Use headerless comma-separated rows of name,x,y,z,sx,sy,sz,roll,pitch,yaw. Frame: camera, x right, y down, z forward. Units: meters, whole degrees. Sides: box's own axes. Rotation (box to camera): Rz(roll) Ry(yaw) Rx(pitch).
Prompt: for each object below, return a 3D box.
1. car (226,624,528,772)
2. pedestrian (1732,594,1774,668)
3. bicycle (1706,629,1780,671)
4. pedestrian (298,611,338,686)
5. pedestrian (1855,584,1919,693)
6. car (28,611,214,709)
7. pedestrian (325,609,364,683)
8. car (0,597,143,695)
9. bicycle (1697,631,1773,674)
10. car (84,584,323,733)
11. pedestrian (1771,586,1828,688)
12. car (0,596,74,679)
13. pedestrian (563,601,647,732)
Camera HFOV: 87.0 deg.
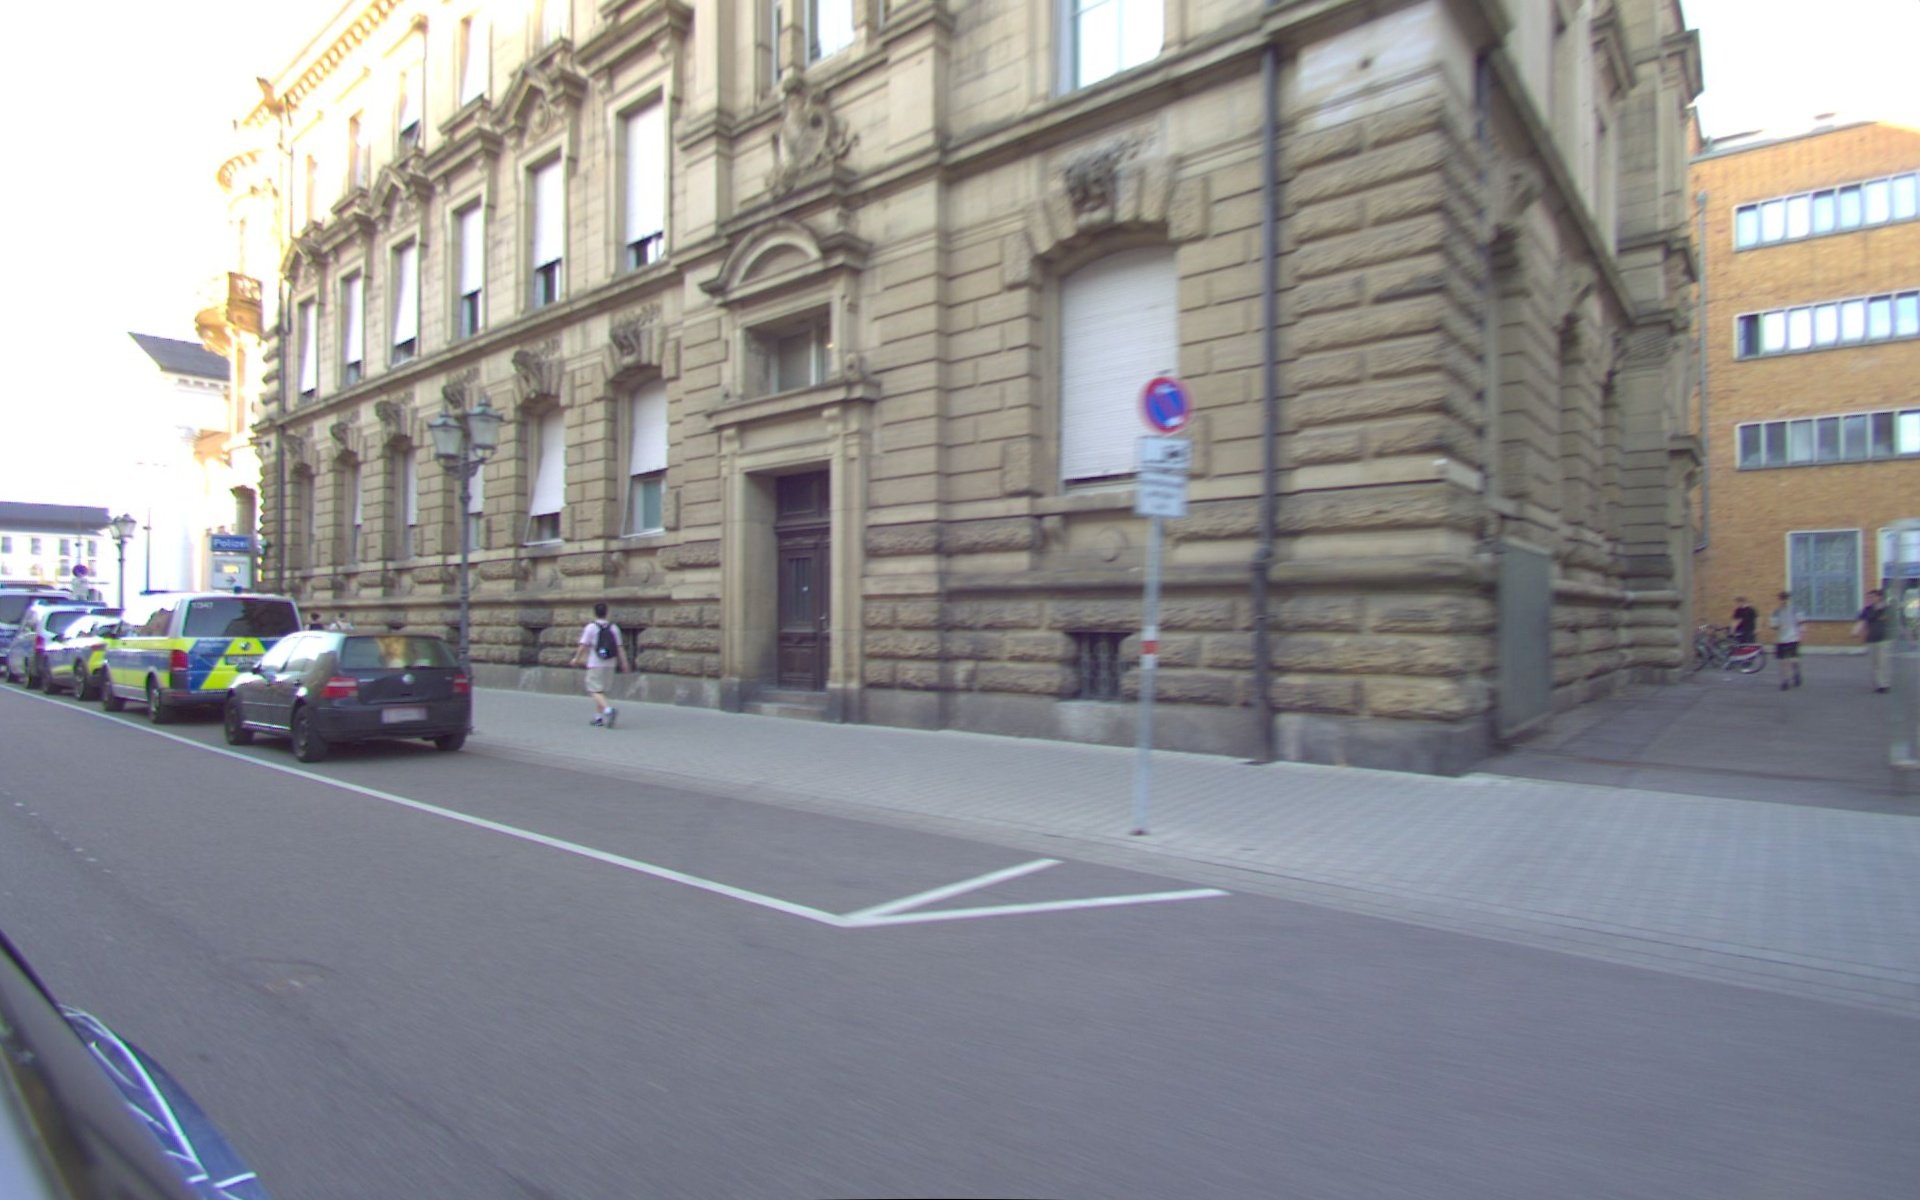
car,-7.329,1.059,12.563,4.162,1.506,1.973,-1,-2,41
pedestrian,19.757,0.767,25.209,0.691,1.818,0.610,1,-2,-35
bicycle,18.774,1.187,24.282,1.355,0.960,0.371,-1,-2,42
pedestrian,-15.152,1.136,23.890,0.830,1.743,0.576,-1,-2,41
pedestrian,16.058,0.654,17.432,0.691,1.818,0.779,1,-2,-35
car,-17.177,1.126,20.633,4.984,1.765,1.974,-1,-2,39
pedestrian,-14.932,1.105,24.552,0.702,1.743,0.601,-1,-2,41
car,-21.424,1.030,24.226,5.204,2.103,1.973,-1,-2,41
bicycle,17.886,1.204,23.371,1.355,0.960,0.371,-1,-2,42
car,-12.515,0.855,16.615,4.985,2.093,1.974,0,-2,39
pedestrian,15.364,0.675,18.526,0.691,1.818,0.610,1,-2,-35
car,-26.968,1.033,28.563,5.199,2.188,1.975,-1,-1,38
pedestrian,-4.965,0.898,14.154,0.896,1.743,0.706,-1,1,41
